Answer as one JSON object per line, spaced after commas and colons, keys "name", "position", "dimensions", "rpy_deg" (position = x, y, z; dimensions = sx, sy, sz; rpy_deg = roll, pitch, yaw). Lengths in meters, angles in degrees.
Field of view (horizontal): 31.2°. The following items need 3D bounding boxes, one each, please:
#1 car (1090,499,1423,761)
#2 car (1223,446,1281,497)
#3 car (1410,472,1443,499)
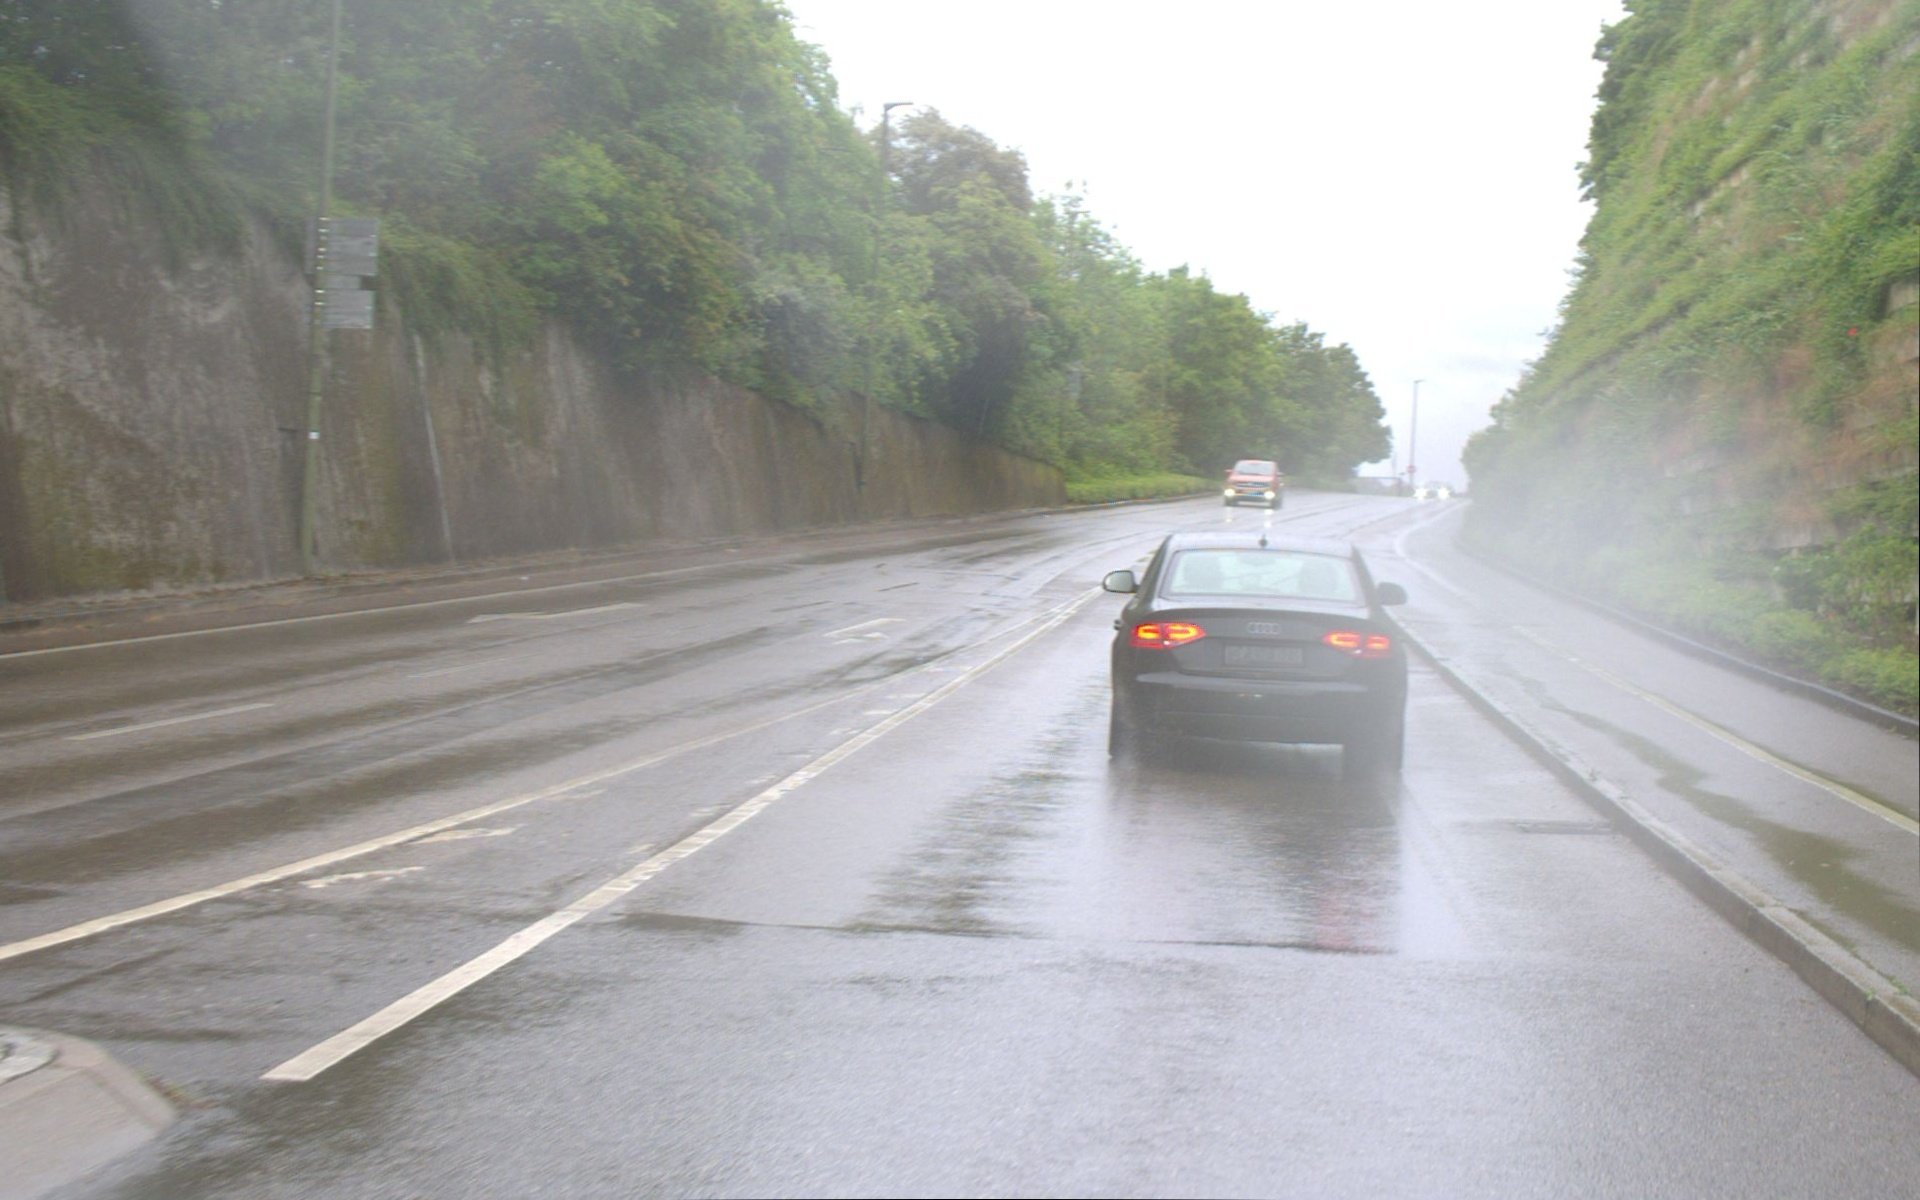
{"name": "car", "position": [1.903, 0.121, 21.696], "dimensions": [1.893, 1.487, 4.207], "rpy_deg": [0, 1, 6]}
{"name": "car", "position": [9.986, -4.381, 117.517], "dimensions": [1.733, 1.612, 3.999], "rpy_deg": [3, 2, 7]}
{"name": "car", "position": [28.630, -7.044, 210.918], "dimensions": [1.865, 1.443, 4.377], "rpy_deg": [3, 4, 8]}
